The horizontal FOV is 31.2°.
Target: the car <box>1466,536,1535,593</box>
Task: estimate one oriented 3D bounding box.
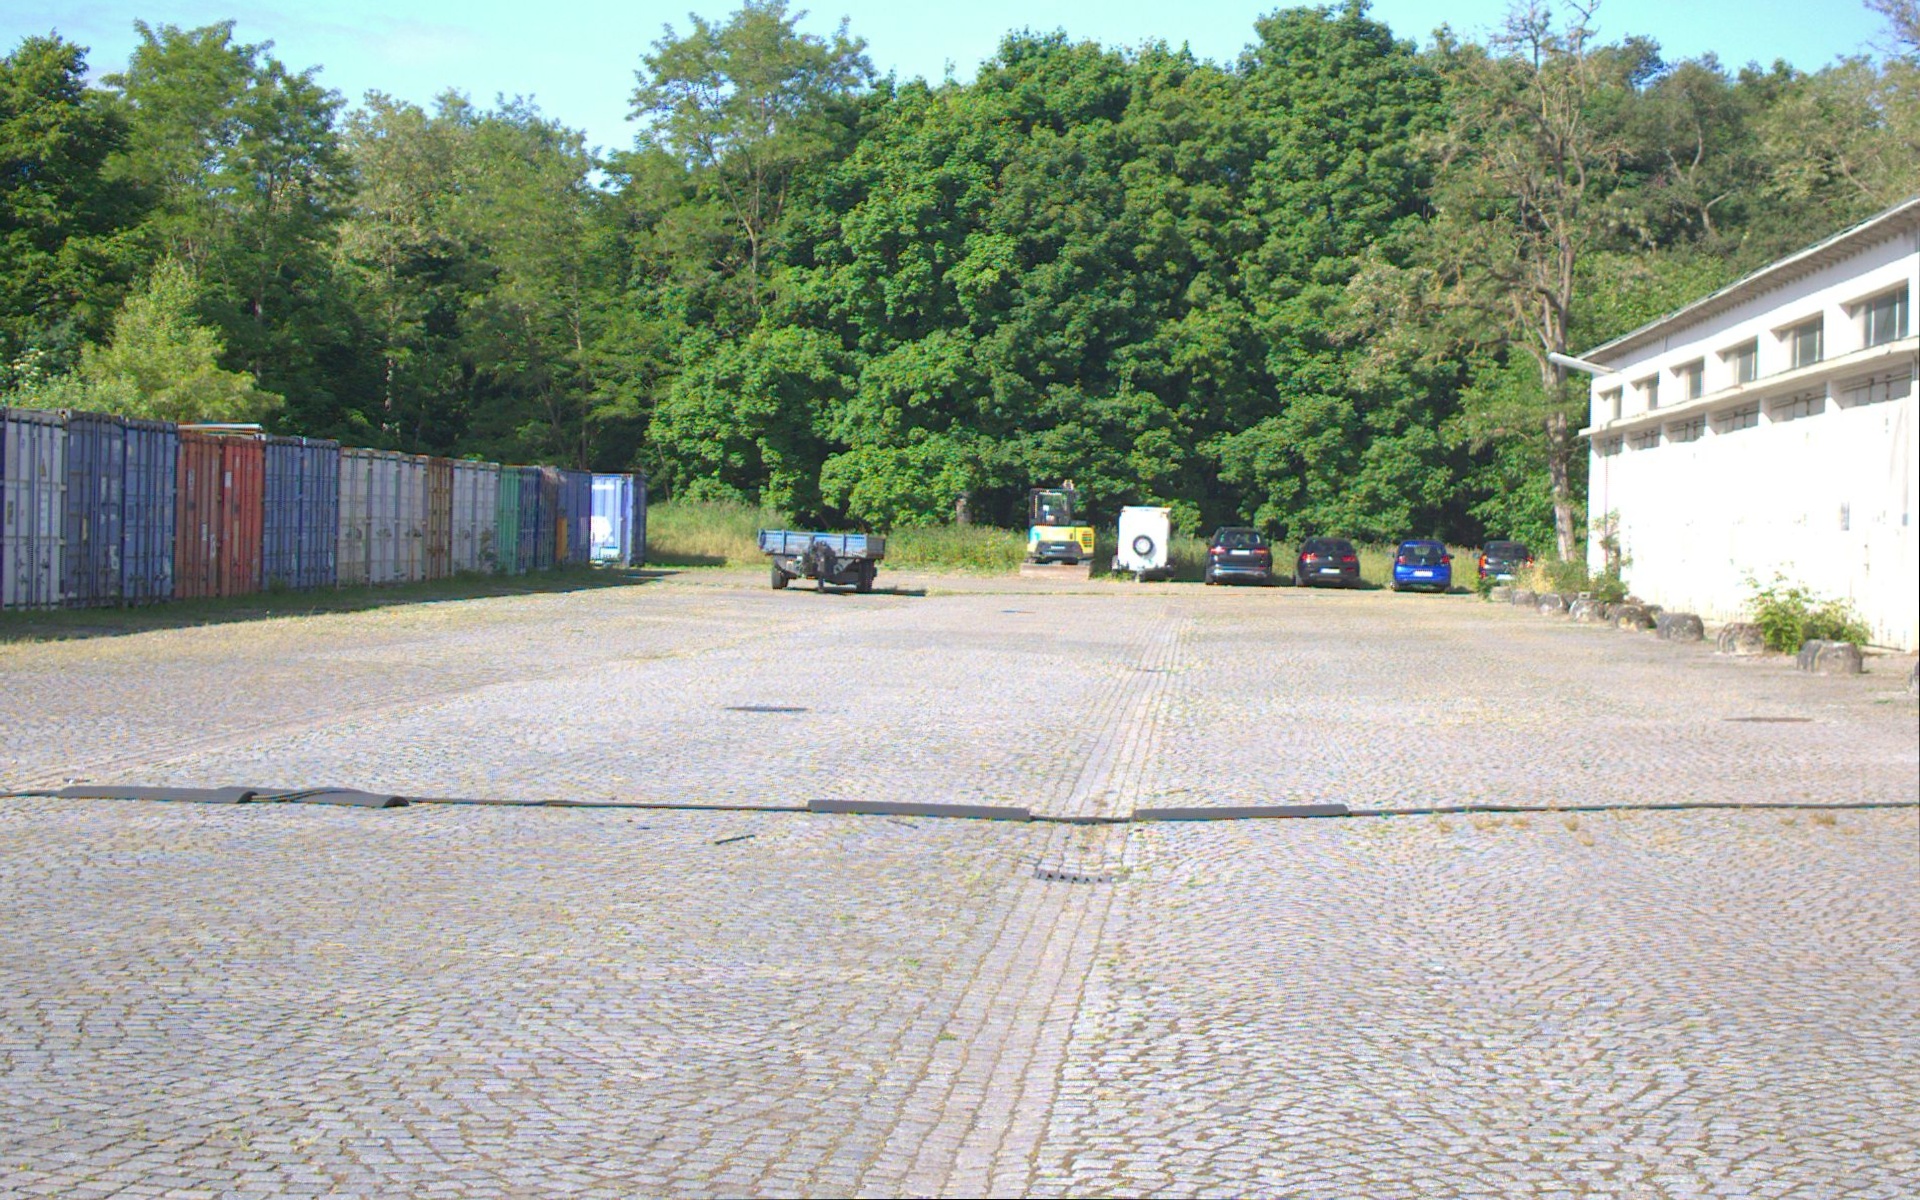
[{"bbox_3d":[15.502,-1.039,98.477,1.745,1.431,4.181,3,3,11],"label":"car"}]

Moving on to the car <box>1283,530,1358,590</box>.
[{"bbox_3d":[10.204,-1.152,97.529,1.864,1.465,4.295,3,3,4],"label":"car"}]

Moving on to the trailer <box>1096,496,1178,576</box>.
[{"bbox_3d":[5.178,-1.894,99.913,2.193,2.087,5.751,3,3,4],"label":"trailer"}]

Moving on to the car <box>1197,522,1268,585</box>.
[{"bbox_3d":[7.700,-1.331,97.347,1.864,1.583,4.295,3,3,4],"label":"car"}]

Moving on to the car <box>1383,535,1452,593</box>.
[{"bbox_3d":[12.959,-1.042,97.259,1.745,1.431,4.182,3,3,9],"label":"car"}]

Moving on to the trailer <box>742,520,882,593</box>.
[{"bbox_3d":[-3.400,-1.050,80.434,2.705,1.460,6.247,3,2,2],"label":"trailer"}]

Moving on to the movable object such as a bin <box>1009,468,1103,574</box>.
[{"bbox_3d":[2.856,-2.366,100.676,2.307,2.886,5.750,3,3,5],"label":"movable object such as a bin"}]
